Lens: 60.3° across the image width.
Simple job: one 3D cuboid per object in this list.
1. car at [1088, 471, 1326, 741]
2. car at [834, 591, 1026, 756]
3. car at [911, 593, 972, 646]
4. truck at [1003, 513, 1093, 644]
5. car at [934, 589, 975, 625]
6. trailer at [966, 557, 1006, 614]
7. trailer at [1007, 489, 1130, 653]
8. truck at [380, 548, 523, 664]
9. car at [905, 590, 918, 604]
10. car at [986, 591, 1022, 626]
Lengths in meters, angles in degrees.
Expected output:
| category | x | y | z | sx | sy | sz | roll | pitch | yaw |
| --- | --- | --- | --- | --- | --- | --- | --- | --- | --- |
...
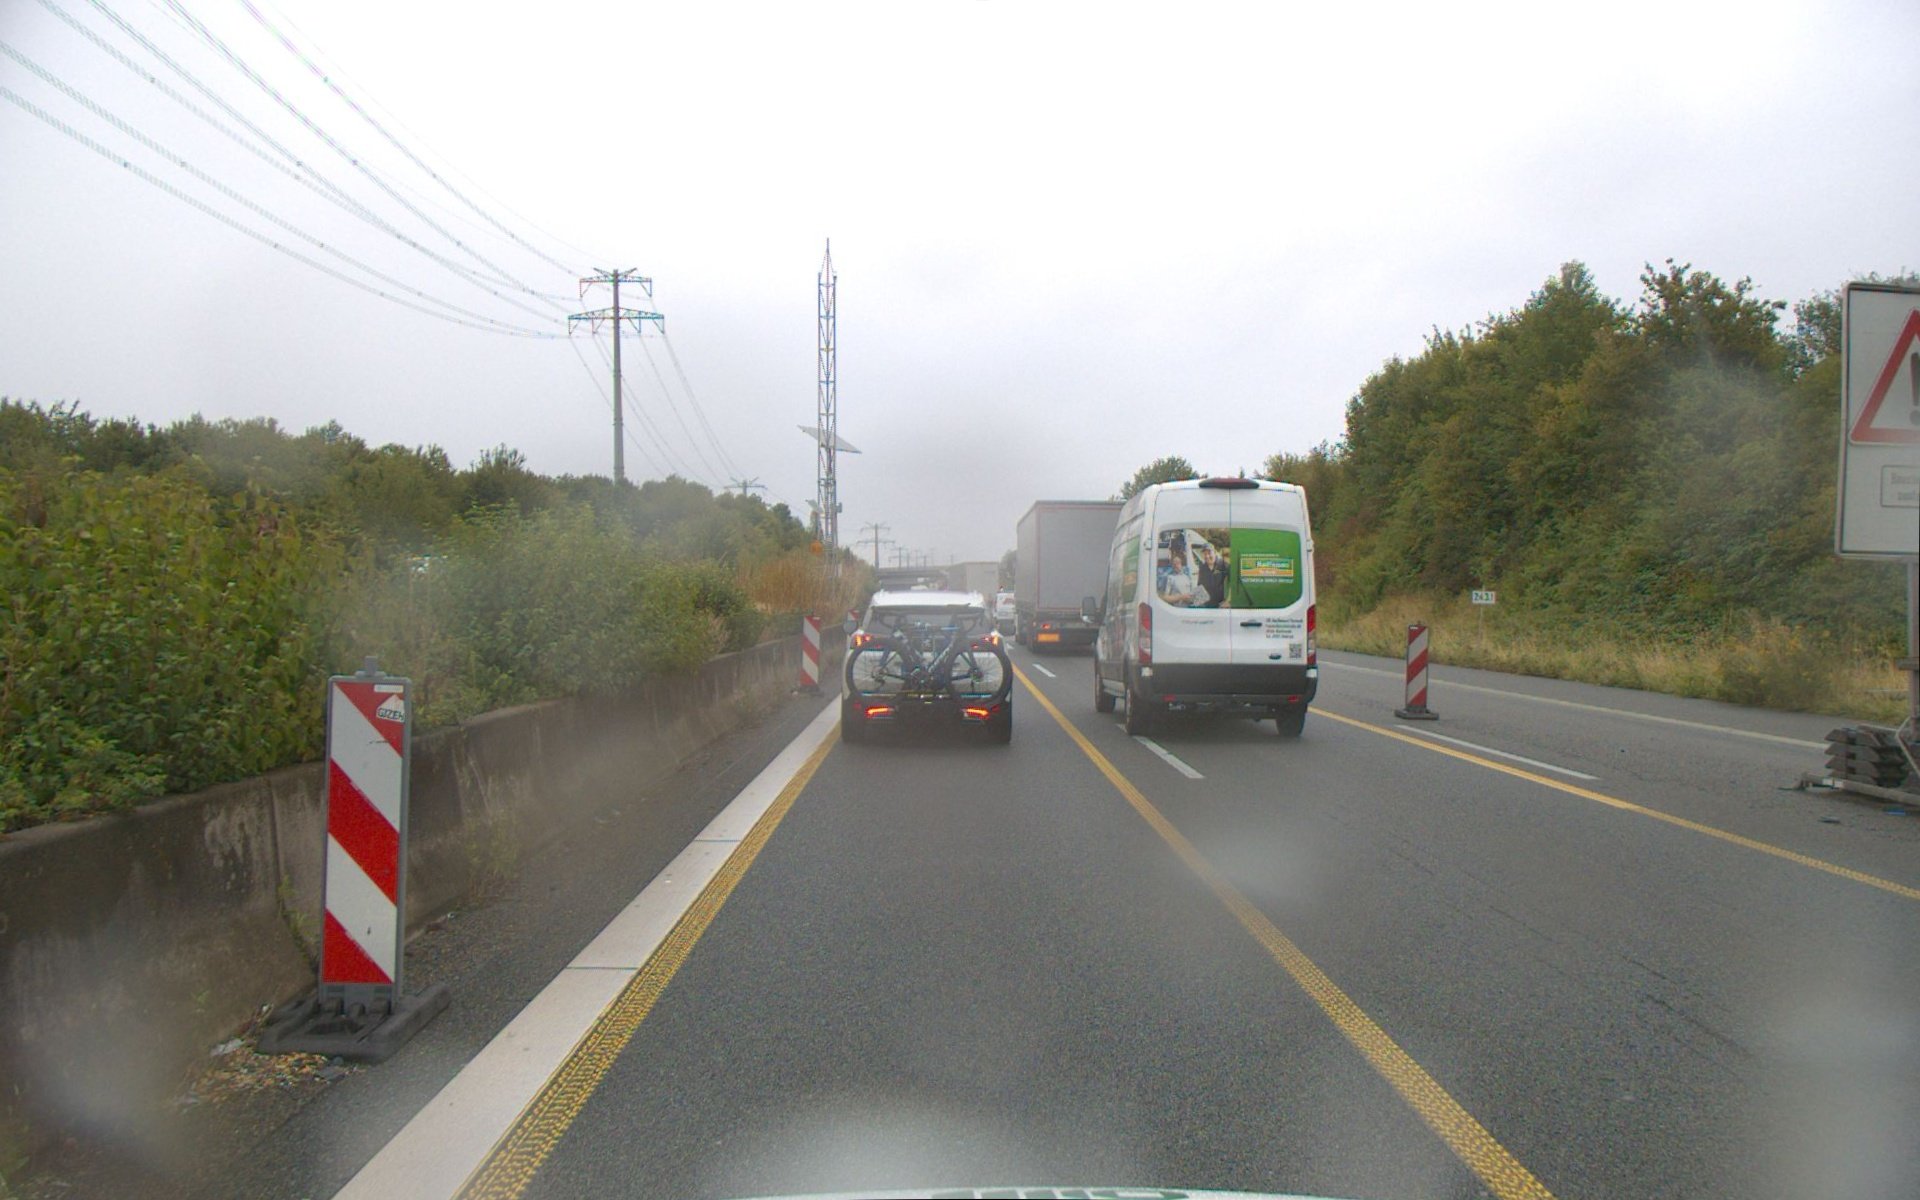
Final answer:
| category | x | y | z | sx | sy | sz | roll | pitch | yaw |
| --- | --- | --- | --- | --- | --- | --- | --- | --- | --- |
| car | 2.815 | 0.053 | 20.213 | 1.953 | 2.831 | 5.755 | 0 | 0 | -1 |
| car | -0.319 | 0.694 | 18.041 | 1.812 | 1.557 | 4.767 | 0 | 0 | -1 |
| car | -0.588 | 0.576 | 51.443 | 1.812 | 1.557 | 3.999 | 0 | 0 | -1 |
| truck | 2.924 | -0.699 | 56.364 | 2.651 | 4.211 | 5.689 | 0 | 0 | -1 |
| car | -0.281 | 0.310 | 74.723 | 1.812 | 1.557 | 3.999 | 0 | 0 | -1 |
| trailer | 1.894 | -1.056 | 126.655 | 2.638 | 4.148 | 13.630 | 0 | 0 | -1 |
| trailer | 2.996 | -0.763 | 49.727 | 2.651 | 4.219 | 13.730 | 0 | 0 | -1 |
| truck | -15.845 | 0.176 | 52.061 | 2.215 | 3.284 | 7.051 | -3 | 0 | -1 |
| car | -7.297 | -0.488 | 251.116 | 1.892 | 2.008 | 4.000 | 0 | 1 | -1 |
| car | 2.368 | 0.434 | 90.333 | 1.792 | 1.871 | 4.654 | 0 | 0 | -1 |
